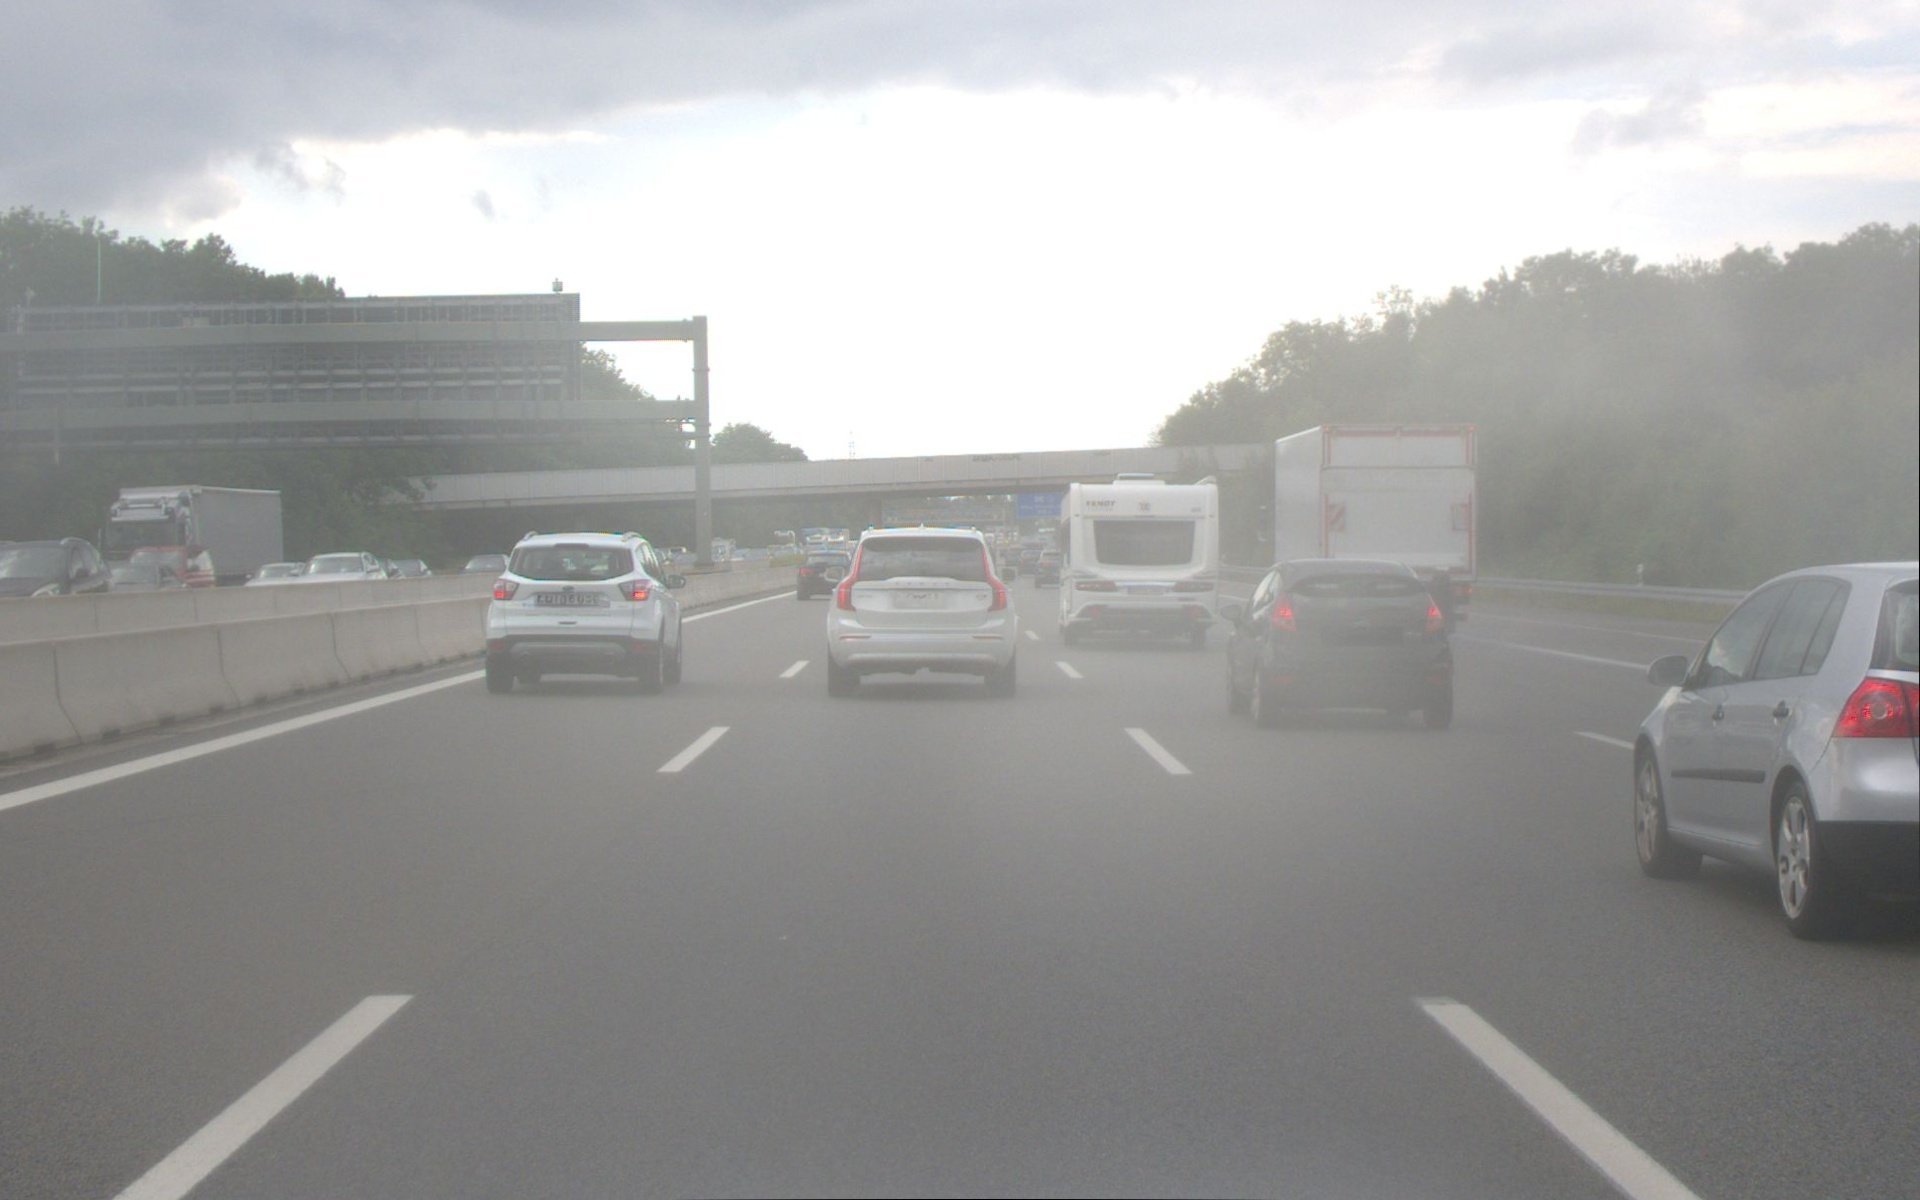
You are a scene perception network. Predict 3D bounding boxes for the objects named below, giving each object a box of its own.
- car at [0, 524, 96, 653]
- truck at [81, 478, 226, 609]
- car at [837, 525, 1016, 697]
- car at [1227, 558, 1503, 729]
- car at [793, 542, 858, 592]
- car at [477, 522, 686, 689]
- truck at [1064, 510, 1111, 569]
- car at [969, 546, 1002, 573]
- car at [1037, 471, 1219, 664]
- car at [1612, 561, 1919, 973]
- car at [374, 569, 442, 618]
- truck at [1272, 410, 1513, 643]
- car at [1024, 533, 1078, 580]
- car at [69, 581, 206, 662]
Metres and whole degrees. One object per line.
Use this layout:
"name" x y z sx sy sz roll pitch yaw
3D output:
"car" -14.038 -0.195 49.628 1.993 1.775 4.673 0 1 0
"truck" -25.753 -1.808 110.049 3.220 4.043 6.232 0 1 0
"car" -0.374 0.075 36.547 1.781 1.710 4.353 0 1 -1
"car" 3.541 0.339 30.775 1.885 1.402 4.283 0 1 -1
"car" -4.042 -1.015 104.175 1.781 1.476 4.353 0 1 0
"car" -4.039 0.003 37.335 1.815 1.684 4.852 0 1 -1
"truck" 8.360 -4.003 226.536 2.906 3.797 7.274 0 1 1
"car" 1.626 -2.609 219.492 1.881 1.680 4.001 0 1 -3
"car" 2.605 -0.549 55.304 2.567 2.885 7.534 0 1 0
"car" 4.054 0.586 14.485 1.795 1.472 4.038 0 1 -1
"car" -21.984 -0.267 137.040 1.993 1.885 4.362 0 1 0
"truck" 7.355 -1.252 59.793 3.133 3.697 9.847 0 1 1
"car" 3.545 -1.729 134.943 2.043 1.817 4.904 0 1 1
"car" -18.488 0.463 77.478 1.993 1.709 4.699 0 1 0
